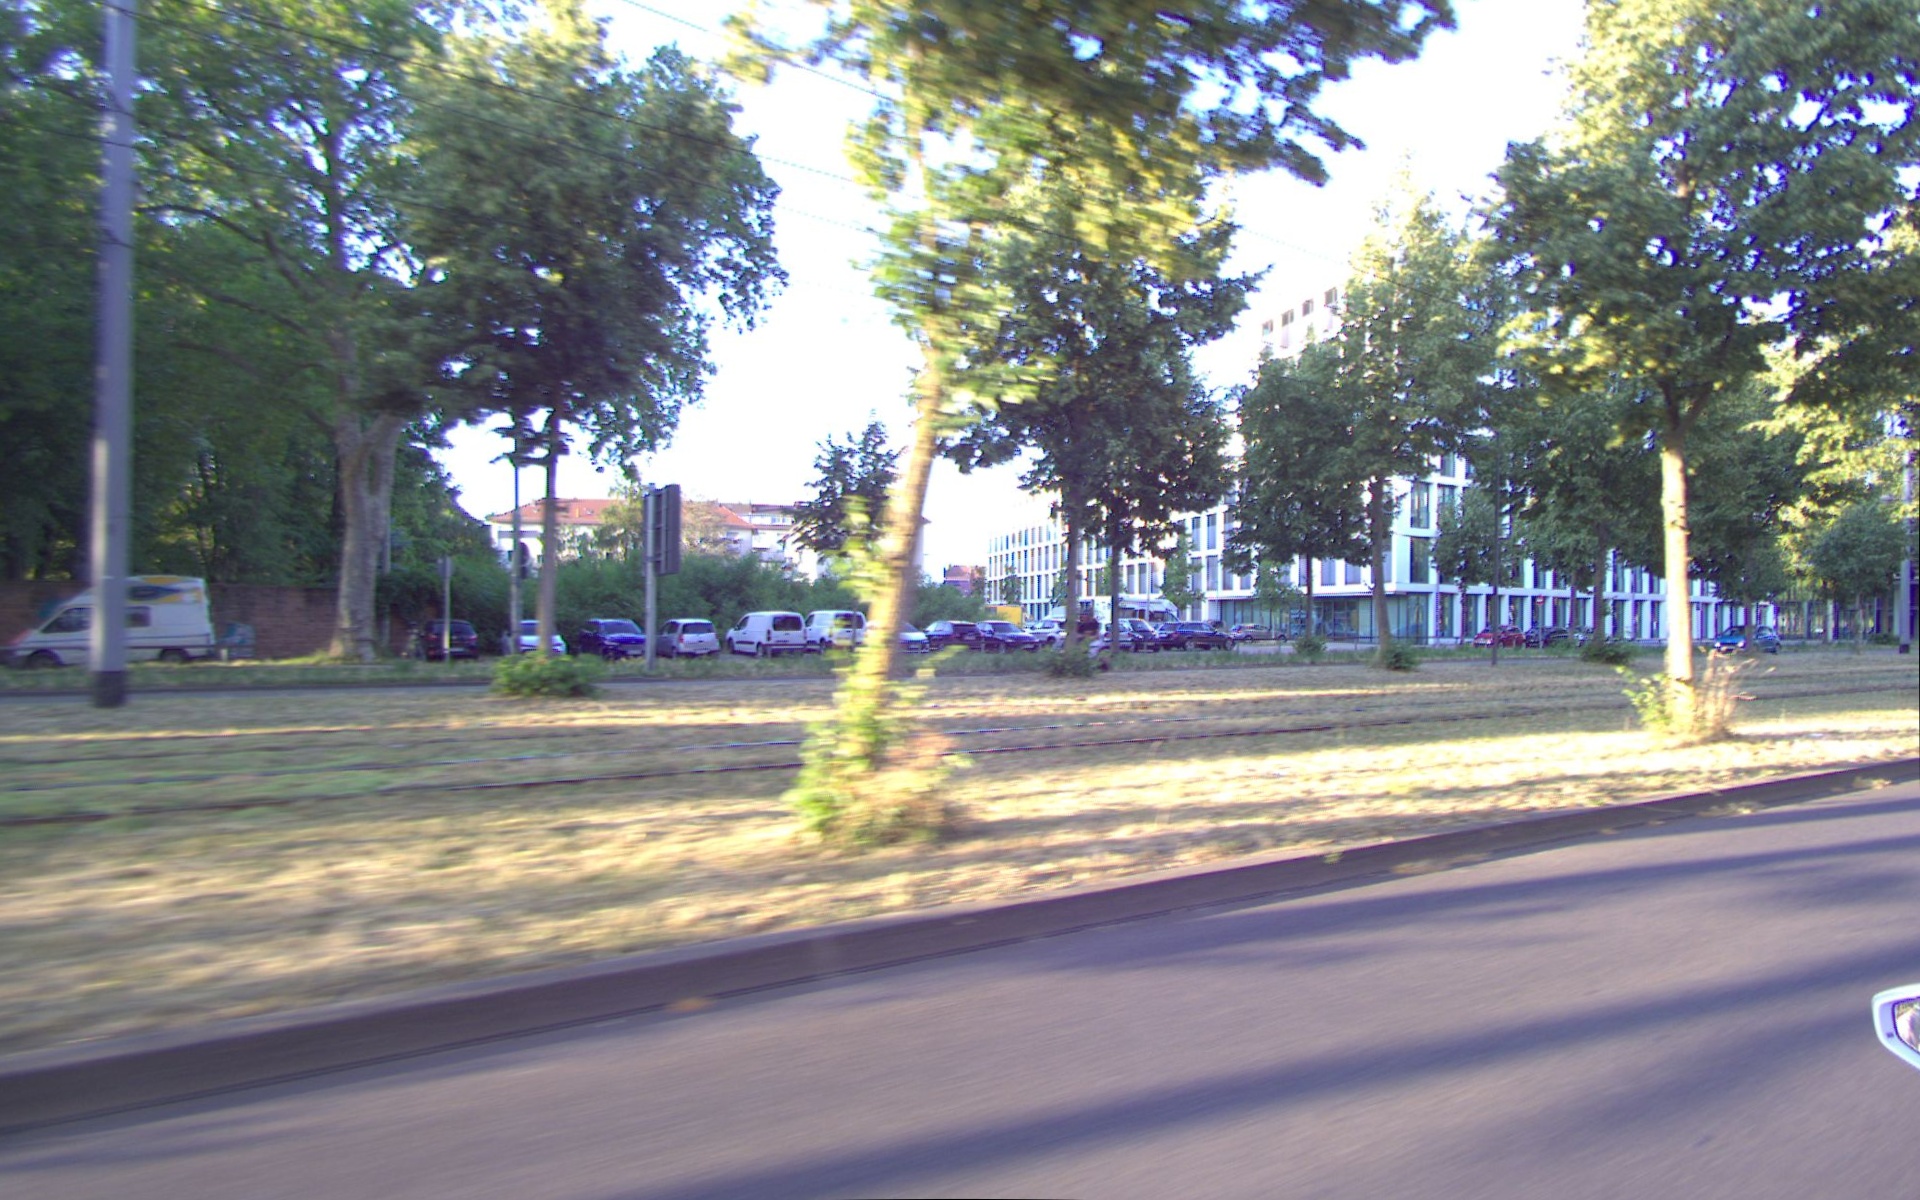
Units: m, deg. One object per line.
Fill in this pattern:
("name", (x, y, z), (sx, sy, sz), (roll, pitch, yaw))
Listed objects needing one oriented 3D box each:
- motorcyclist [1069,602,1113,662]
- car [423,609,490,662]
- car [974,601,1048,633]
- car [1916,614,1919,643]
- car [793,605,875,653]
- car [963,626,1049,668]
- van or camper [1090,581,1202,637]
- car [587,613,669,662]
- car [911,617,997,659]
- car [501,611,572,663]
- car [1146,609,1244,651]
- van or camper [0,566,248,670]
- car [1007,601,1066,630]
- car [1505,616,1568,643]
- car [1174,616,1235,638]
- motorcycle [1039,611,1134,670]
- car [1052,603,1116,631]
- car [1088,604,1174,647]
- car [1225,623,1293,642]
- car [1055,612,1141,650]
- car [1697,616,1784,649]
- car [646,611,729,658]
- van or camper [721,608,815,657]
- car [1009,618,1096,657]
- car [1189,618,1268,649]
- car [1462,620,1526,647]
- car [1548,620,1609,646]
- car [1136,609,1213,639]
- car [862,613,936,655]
("motorcyclist", (3.128, 0.752, 23.919), (0.795, 1.394, 0.677), (1, -1, -31))
("car", (-16.854, 1.128, 33.573), (1.898, 1.662, 3.971), (1, -1, -28))
("car", (4.346, 1.453, 85.784), (5.993, 2.631, 1.993), (1, -1, -17))
("car", (54.201, 1.573, 54.919), (4.136, 1.599, 1.875), (1, -1, -32))
("car", (-5.204, 1.161, 41.165), (1.988, 1.869, 3.969), (1, -1, -29))
("car", (1.992, 2.034, 44.494), (1.902, 1.662, 3.963), (1, -1, -33))
("van or camper", (10.997, 0.539, 59.441), (6.181, 3.126, 2.701), (1, 0, -27))
("car", (-12.072, 1.302, 36.376), (1.902, 1.662, 3.963), (1, -1, -33))
("car", (-0.297, 1.591, 43.321), (1.902, 1.662, 3.963), (1, -1, -33))
("car", (-14.716, 1.229, 34.824), (1.898, 1.662, 3.970), (1, -1, -28))
("car", (11.954, 1.506, 50.900), (4.876, 2.040, 1.983), (1, -1, -31))
("van or camper", (-24.003, 0.537, 29.028), (5.434, 2.772, 2.073), (1, -1, -32))
("car", (5.600, 1.126, 73.526), (3.952, 2.040, 1.984), (1, -1, -30))
("car", (36.092, 1.813, 62.874), (3.621, 1.603, 1.851), (1, 0, -30))
("car", (18.424, 2.059, 75.747), (4.212, 1.610, 1.761), (1, -1, -19))
("motorcycle", (3.020, 0.949, 23.831), (2.318, 1.354, 0.678), (1, -1, -32))
("car", (8.450, 1.141, 68.307), (3.949, 1.835, 1.909), (1, -1, -28))
("car", (8.292, 1.218, 48.935), (1.979, 2.040, 3.964), (1, -1, -33))
("car", (20.361, 2.220, 68.348), (4.183, 1.277, 1.738), (1, -1, -18))
("car", (6.425, 1.429, 47.079), (1.902, 1.662, 3.963), (1, -1, -33))
("car", (37.563, 1.549, 48.333), (4.238, 1.528, 1.908), (1, -1, -31))
("car", (-10.363, 1.276, 38.050), (1.902, 1.662, 3.963), (1, -1, -33))
("van or camper", (-7.567, 1.234, 39.322), (1.984, 1.815, 3.954), (1, -1, -40))
("car", (4.185, 1.654, 45.917), (1.902, 1.662, 3.963), (1, -1, -33))
("car", (14.740, 1.813, 55.082), (3.948, 1.662, 1.909), (1, -1, -27))
("car", (32.069, 1.991, 60.332), (3.450, 1.603, 1.851), (1, 0, -30))
("car", (40.360, 2.129, 65.581), (3.739, 1.603, 1.851), (1, 0, -30))
("car", (12.116, 1.324, 56.729), (3.948, 1.662, 1.909), (1, -1, -27))
("car", (-2.595, 1.382, 42.118), (1.895, 1.662, 3.978), (1, -1, -23))
